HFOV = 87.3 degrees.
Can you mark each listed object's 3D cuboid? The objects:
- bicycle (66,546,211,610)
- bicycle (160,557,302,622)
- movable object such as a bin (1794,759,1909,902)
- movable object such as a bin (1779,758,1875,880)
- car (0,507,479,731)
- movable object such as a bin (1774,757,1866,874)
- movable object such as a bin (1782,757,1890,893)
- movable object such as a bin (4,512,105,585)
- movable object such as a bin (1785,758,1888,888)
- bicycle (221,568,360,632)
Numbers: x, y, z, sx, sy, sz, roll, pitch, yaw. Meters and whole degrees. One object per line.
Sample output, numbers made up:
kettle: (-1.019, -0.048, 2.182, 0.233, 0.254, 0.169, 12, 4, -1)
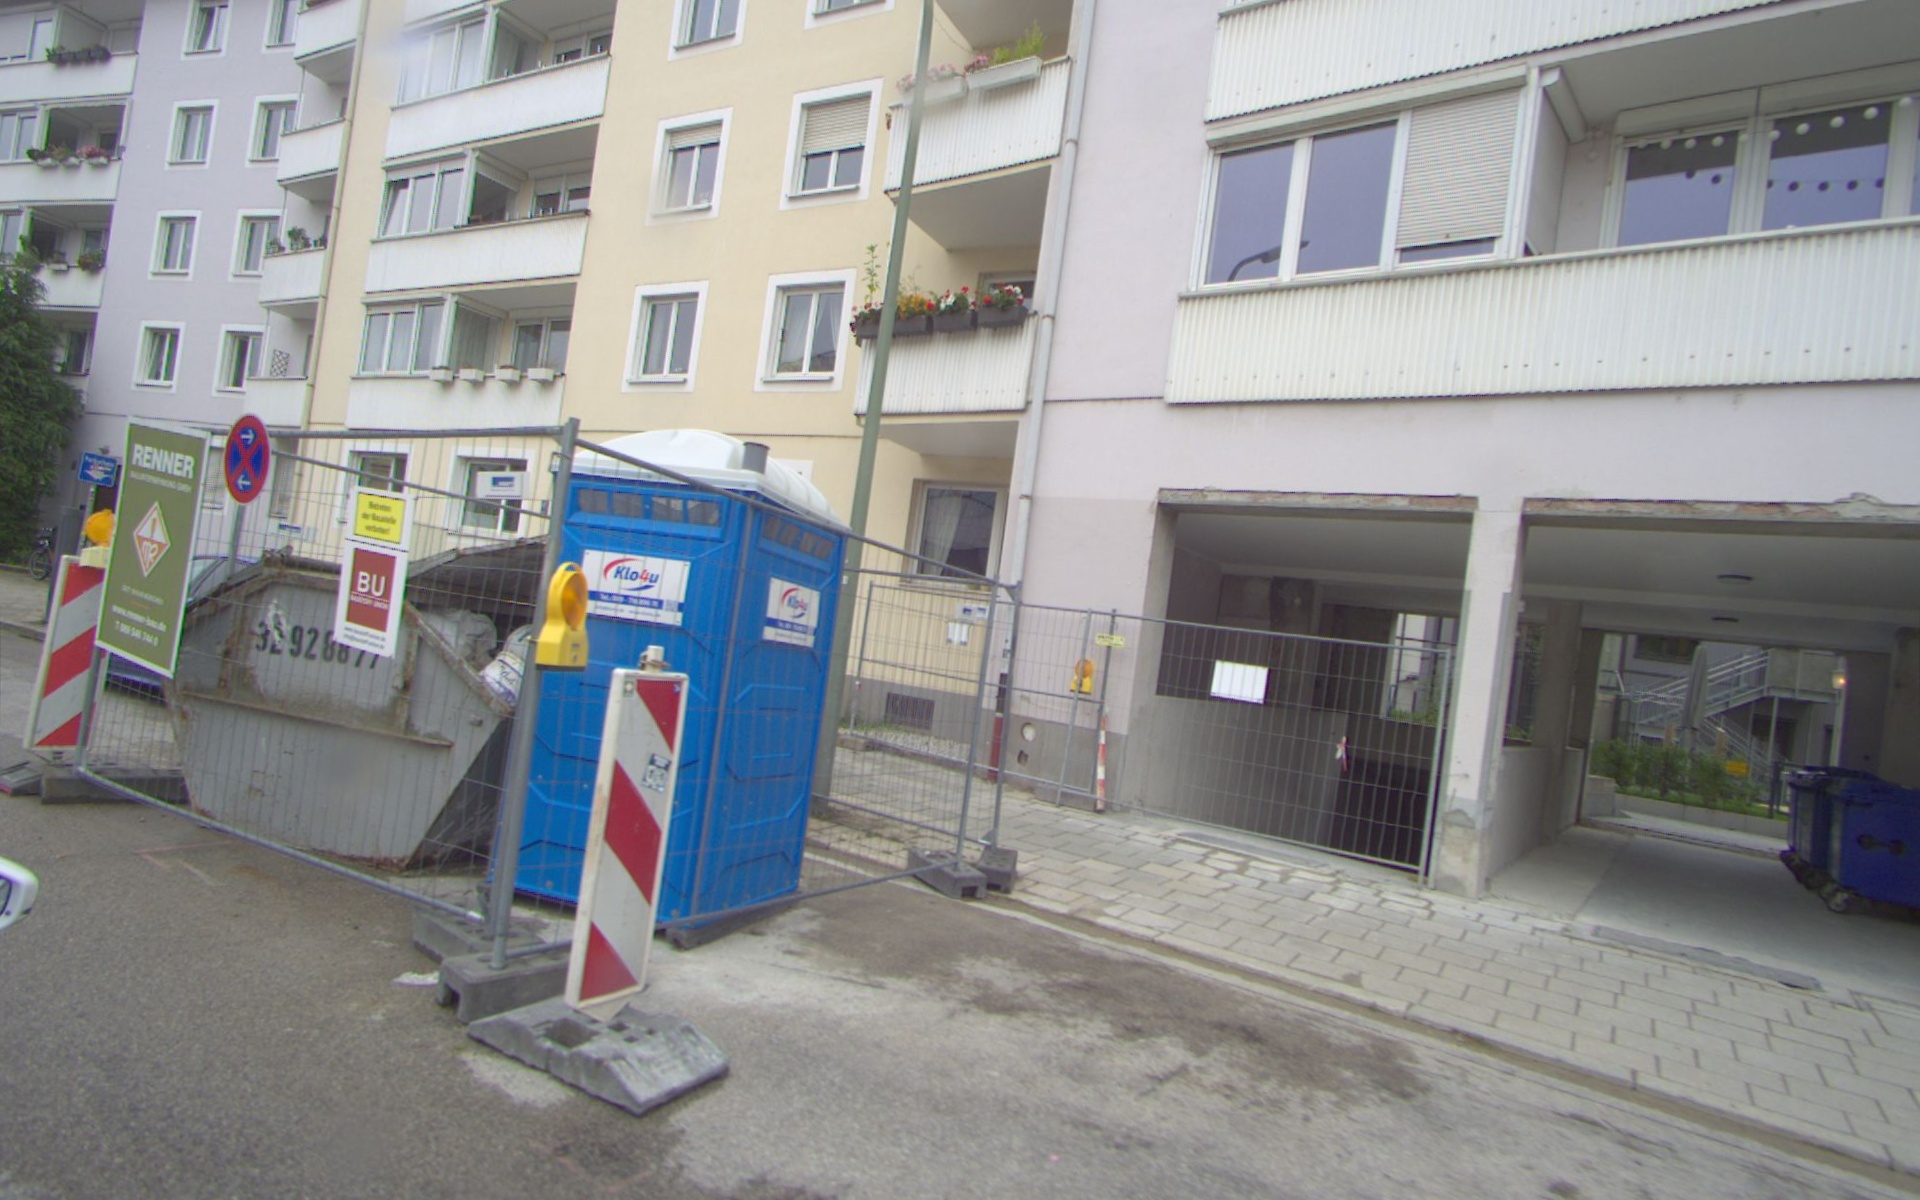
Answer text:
bicycle: (-16.082, -0.408, 19.760, 0.762, 1.028, 2.014, 7, 0, 23)
bicycle: (-13.738, -0.169, 19.032, 0.762, 1.028, 2.014, 7, 0, 23)
movable object such as a bin: (10.138, 2.591, 11.473, 0.770, 1.424, 0.643, 7, -2, 34)
movable object such as a bin: (11.503, 2.883, 13.373, 0.770, 1.424, 0.643, 7, -2, 34)
car: (-6.789, 0.146, 9.429, 4.206, 1.455, 1.787, 7, -2, 27)
movable object such as a bin: (11.973, 2.978, 14.032, 0.770, 1.424, 0.643, 7, -2, 34)
movable object such as a bin: (10.477, 2.660, 12.055, 0.770, 1.424, 0.643, 7, -2, 34)
movable object such as a bin: (-20.088, -1.122, 22.344, 1.032, 1.453, 1.292, 7, 3, 21)
movable object such as a bin: (10.970, 2.769, 12.615, 0.770, 1.424, 0.643, 7, -2, 34)
bicycle: (-12.625, 0.026, 19.051, 0.762, 1.028, 2.013, 7, 0, 25)
